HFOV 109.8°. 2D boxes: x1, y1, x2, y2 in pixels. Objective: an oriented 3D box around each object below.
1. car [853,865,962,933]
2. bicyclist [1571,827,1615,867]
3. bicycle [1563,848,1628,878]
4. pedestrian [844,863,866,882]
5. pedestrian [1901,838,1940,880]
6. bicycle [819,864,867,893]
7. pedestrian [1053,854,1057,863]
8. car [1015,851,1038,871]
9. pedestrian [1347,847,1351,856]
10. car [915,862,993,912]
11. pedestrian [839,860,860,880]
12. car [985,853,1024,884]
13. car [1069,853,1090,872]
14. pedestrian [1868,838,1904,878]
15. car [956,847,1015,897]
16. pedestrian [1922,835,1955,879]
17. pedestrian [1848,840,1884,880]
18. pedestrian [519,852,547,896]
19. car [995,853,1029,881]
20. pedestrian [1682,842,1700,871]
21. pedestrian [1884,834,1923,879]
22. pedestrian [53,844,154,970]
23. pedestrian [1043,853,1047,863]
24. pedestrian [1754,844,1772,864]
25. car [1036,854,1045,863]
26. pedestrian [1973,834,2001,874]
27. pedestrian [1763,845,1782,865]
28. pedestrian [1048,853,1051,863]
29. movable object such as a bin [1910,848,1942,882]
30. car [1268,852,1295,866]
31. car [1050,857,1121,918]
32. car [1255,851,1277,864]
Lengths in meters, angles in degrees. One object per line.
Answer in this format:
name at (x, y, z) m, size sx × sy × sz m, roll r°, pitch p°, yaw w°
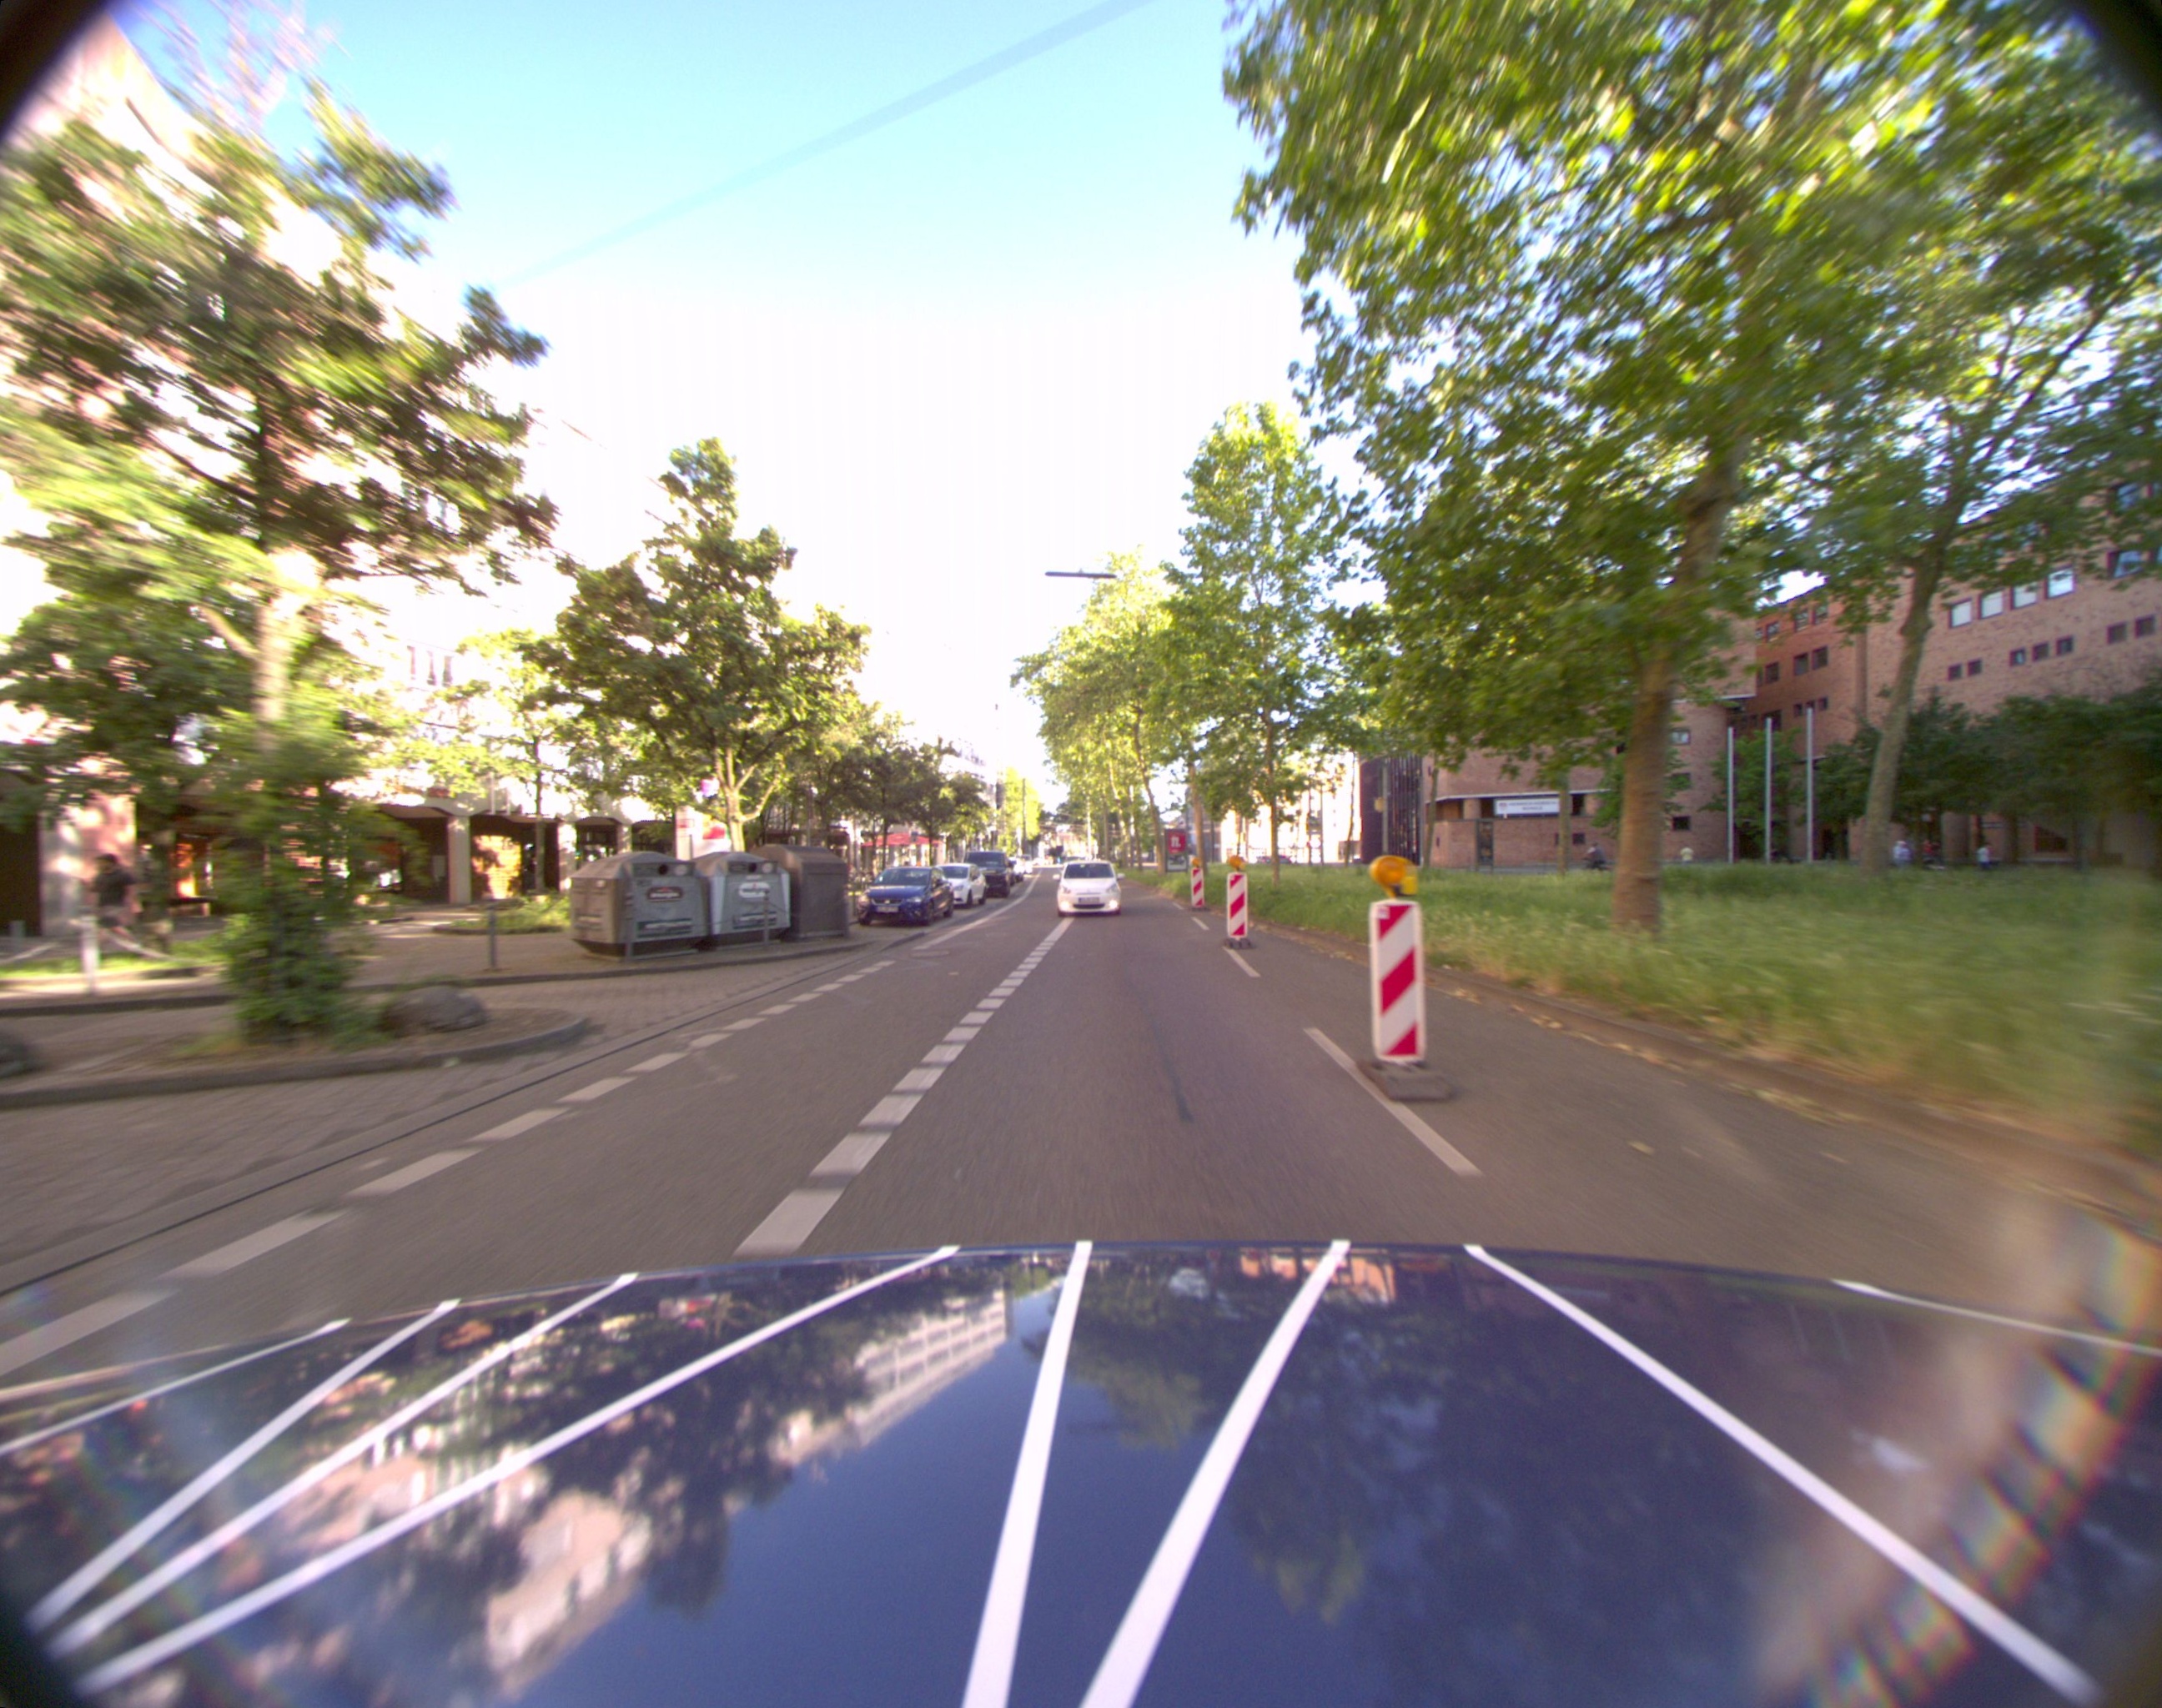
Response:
car at (-4.322, 1.068, 19.572) m, size 1.706 × 1.475 × 4.249 m, roll 0°, pitch 0°, yaw 2°
bicyclist at (20.814, -0.281, 30.911) m, size 0.944 × 1.562 × 1.209 m, roll -1°, pitch 0°, yaw -1°
bicycle at (20.831, 0.344, 30.823) m, size 0.959 × 1.119 × 2.435 m, roll -1°, pitch 1°, yaw -1°
pedestrian at (-14.380, 1.171, 48.379) m, size 0.887 × 1.205 × 1.124 m, roll -1°, pitch 0°, yaw 9°
pedestrian at (32.884, 0.179, 29.773) m, size 0.665 × 1.607 × 0.756 m, roll -1°, pitch 1°, yaw -2°
bicycle at (-10.498, 1.067, 33.597) m, size 0.654 × 1.180 × 2.188 m, roll -1°, pitch 0°, yaw 26°
pedestrian at (-5.491, 0.972, 159.703) m, size 0.654 × 2.002 × 0.742 m, roll -1°, pitch 0°, yaw -2°
car at (-5.280, 0.653, 73.862) m, size 1.922 × 1.893 × 4.860 m, roll 1°, pitch 0°, yaw -1°
pedestrian at (42.807, -0.362, 121.298) m, size 0.566 × 1.495 × 0.512 m, roll -1°, pitch -1°, yaw 21°
car at (-4.130, 1.035, 25.302) m, size 1.706 × 1.457 × 4.176 m, roll 0°, pitch 0°, yaw 3°
pedestrian at (-14.337, 0.988, 47.036) m, size 0.931 × 1.243 × 0.968 m, roll -1°, pitch 0°, yaw 2°
car at (-4.400, 0.791, 44.450) m, size 1.802 × 1.714 × 4.574 m, roll 1°, pitch 0°, yaw 0°
car at (-0.160, 0.766, 68.226) m, size 1.824 × 1.630 × 3.999 m, roll -1°, pitch 0°, yaw -1°
pedestrian at (33.089, 0.165, 31.238) m, size 0.665 × 1.607 × 0.757 m, roll -1°, pitch 1°, yaw 6°
car at (-3.955, 0.699, 32.121) m, size 2.043 × 1.932 × 5.196 m, roll 1°, pitch 0°, yaw -3°
pedestrian at (33.540, 0.122, 29.735) m, size 0.612 × 1.670 × 0.596 m, roll -1°, pitch 1°, yaw -2°
pedestrian at (32.311, 0.234, 31.277) m, size 0.665 × 1.607 × 0.756 m, roll -1°, pitch 1°, yaw -2°
pedestrian at (-23.775, 0.869, 32.961) m, size 0.622 × 1.859 × 0.709 m, roll -1°, pitch 1°, yaw 1°
car at (-4.509, 0.799, 49.941) m, size 1.802 × 1.714 × 4.459 m, roll 1°, pitch 0°, yaw 0°
pedestrian at (32.314, 0.131, 40.256) m, size 0.417 × 1.535 × 0.653 m, roll -1°, pitch 1°, yaw 4°
pedestrian at (32.104, 0.097, 29.655) m, size 0.665 × 1.712 × 0.796 m, roll -1°, pitch 1°, yaw -2°
pedestrian at (-15.816, 0.830, 12.311) m, size 0.640 × 1.970 × 0.777 m, roll -1°, pitch 1°, yaw 17°
pedestrian at (-7.260, 0.790, 153.288) m, size 0.645 × 2.002 × 0.657 m, roll -1°, pitch 1°, yaw 37°
pedestrian at (42.710, 0.024, 47.579) m, size 0.664 × 1.243 × 0.758 m, roll -1°, pitch 1°, yaw 31°
car at (-8.506, 0.920, 158.577) m, size 1.866 × 1.724 × 4.018 m, roll -1°, pitch 0°, yaw -2°
pedestrian at (34.324, 0.010, 28.784) m, size 0.484 × 1.496 × 0.463 m, roll -1°, pitch 1°, yaw 0°
pedestrian at (43.648, 0.065, 47.968) m, size 0.666 × 1.191 × 0.630 m, roll -1°, pitch 1°, yaw -11°
pedestrian at (-6.461, 0.775, 156.298) m, size 0.614 × 2.002 × 0.530 m, roll -1°, pitch 1°, yaw -2°
movable object such as a bin at (32.097, 0.395, 28.878) m, size 0.356 × 1.271 × 0.756 m, roll -1°, pitch 1°, yaw -2°
car at (21.465, 0.538, 81.429) m, size 1.675 × 1.420 × 4.149 m, roll -1°, pitch 0°, yaw -2°
car at (0.233, 0.869, 21.495) m, size 1.720 × 1.442 × 4.425 m, roll -4°, pitch 0°, yaw 3°
car at (21.346, 0.417, 87.722) m, size 1.617 × 1.420 × 3.221 m, roll -1°, pitch 0°, yaw -2°
